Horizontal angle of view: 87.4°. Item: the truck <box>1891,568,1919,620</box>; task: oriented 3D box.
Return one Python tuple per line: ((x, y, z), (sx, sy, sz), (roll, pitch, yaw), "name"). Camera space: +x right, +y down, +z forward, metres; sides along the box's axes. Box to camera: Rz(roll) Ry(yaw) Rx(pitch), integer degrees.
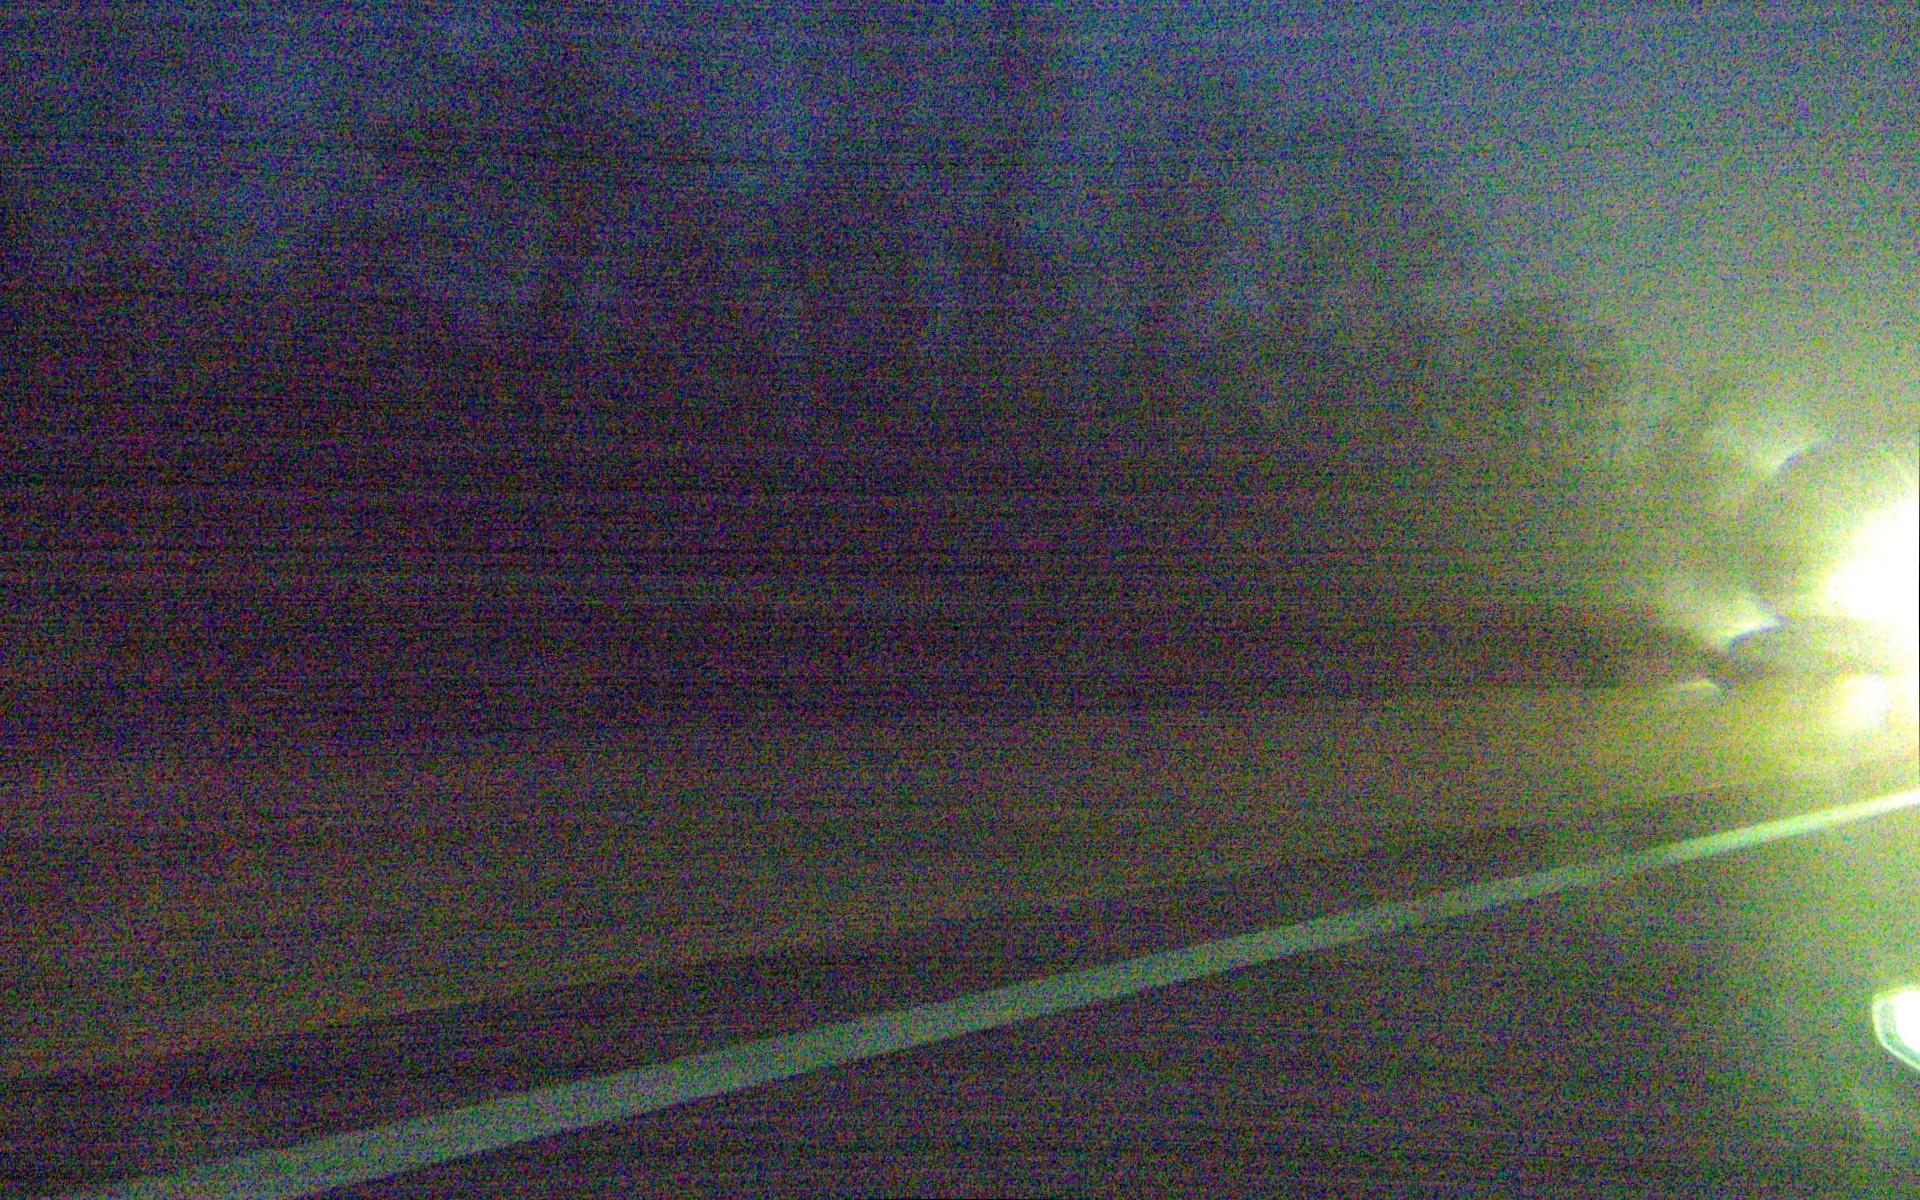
((99.803, -0.639, 105.014), (5.837, 5.167, 2.727), (-1, 5, -42), "truck")
